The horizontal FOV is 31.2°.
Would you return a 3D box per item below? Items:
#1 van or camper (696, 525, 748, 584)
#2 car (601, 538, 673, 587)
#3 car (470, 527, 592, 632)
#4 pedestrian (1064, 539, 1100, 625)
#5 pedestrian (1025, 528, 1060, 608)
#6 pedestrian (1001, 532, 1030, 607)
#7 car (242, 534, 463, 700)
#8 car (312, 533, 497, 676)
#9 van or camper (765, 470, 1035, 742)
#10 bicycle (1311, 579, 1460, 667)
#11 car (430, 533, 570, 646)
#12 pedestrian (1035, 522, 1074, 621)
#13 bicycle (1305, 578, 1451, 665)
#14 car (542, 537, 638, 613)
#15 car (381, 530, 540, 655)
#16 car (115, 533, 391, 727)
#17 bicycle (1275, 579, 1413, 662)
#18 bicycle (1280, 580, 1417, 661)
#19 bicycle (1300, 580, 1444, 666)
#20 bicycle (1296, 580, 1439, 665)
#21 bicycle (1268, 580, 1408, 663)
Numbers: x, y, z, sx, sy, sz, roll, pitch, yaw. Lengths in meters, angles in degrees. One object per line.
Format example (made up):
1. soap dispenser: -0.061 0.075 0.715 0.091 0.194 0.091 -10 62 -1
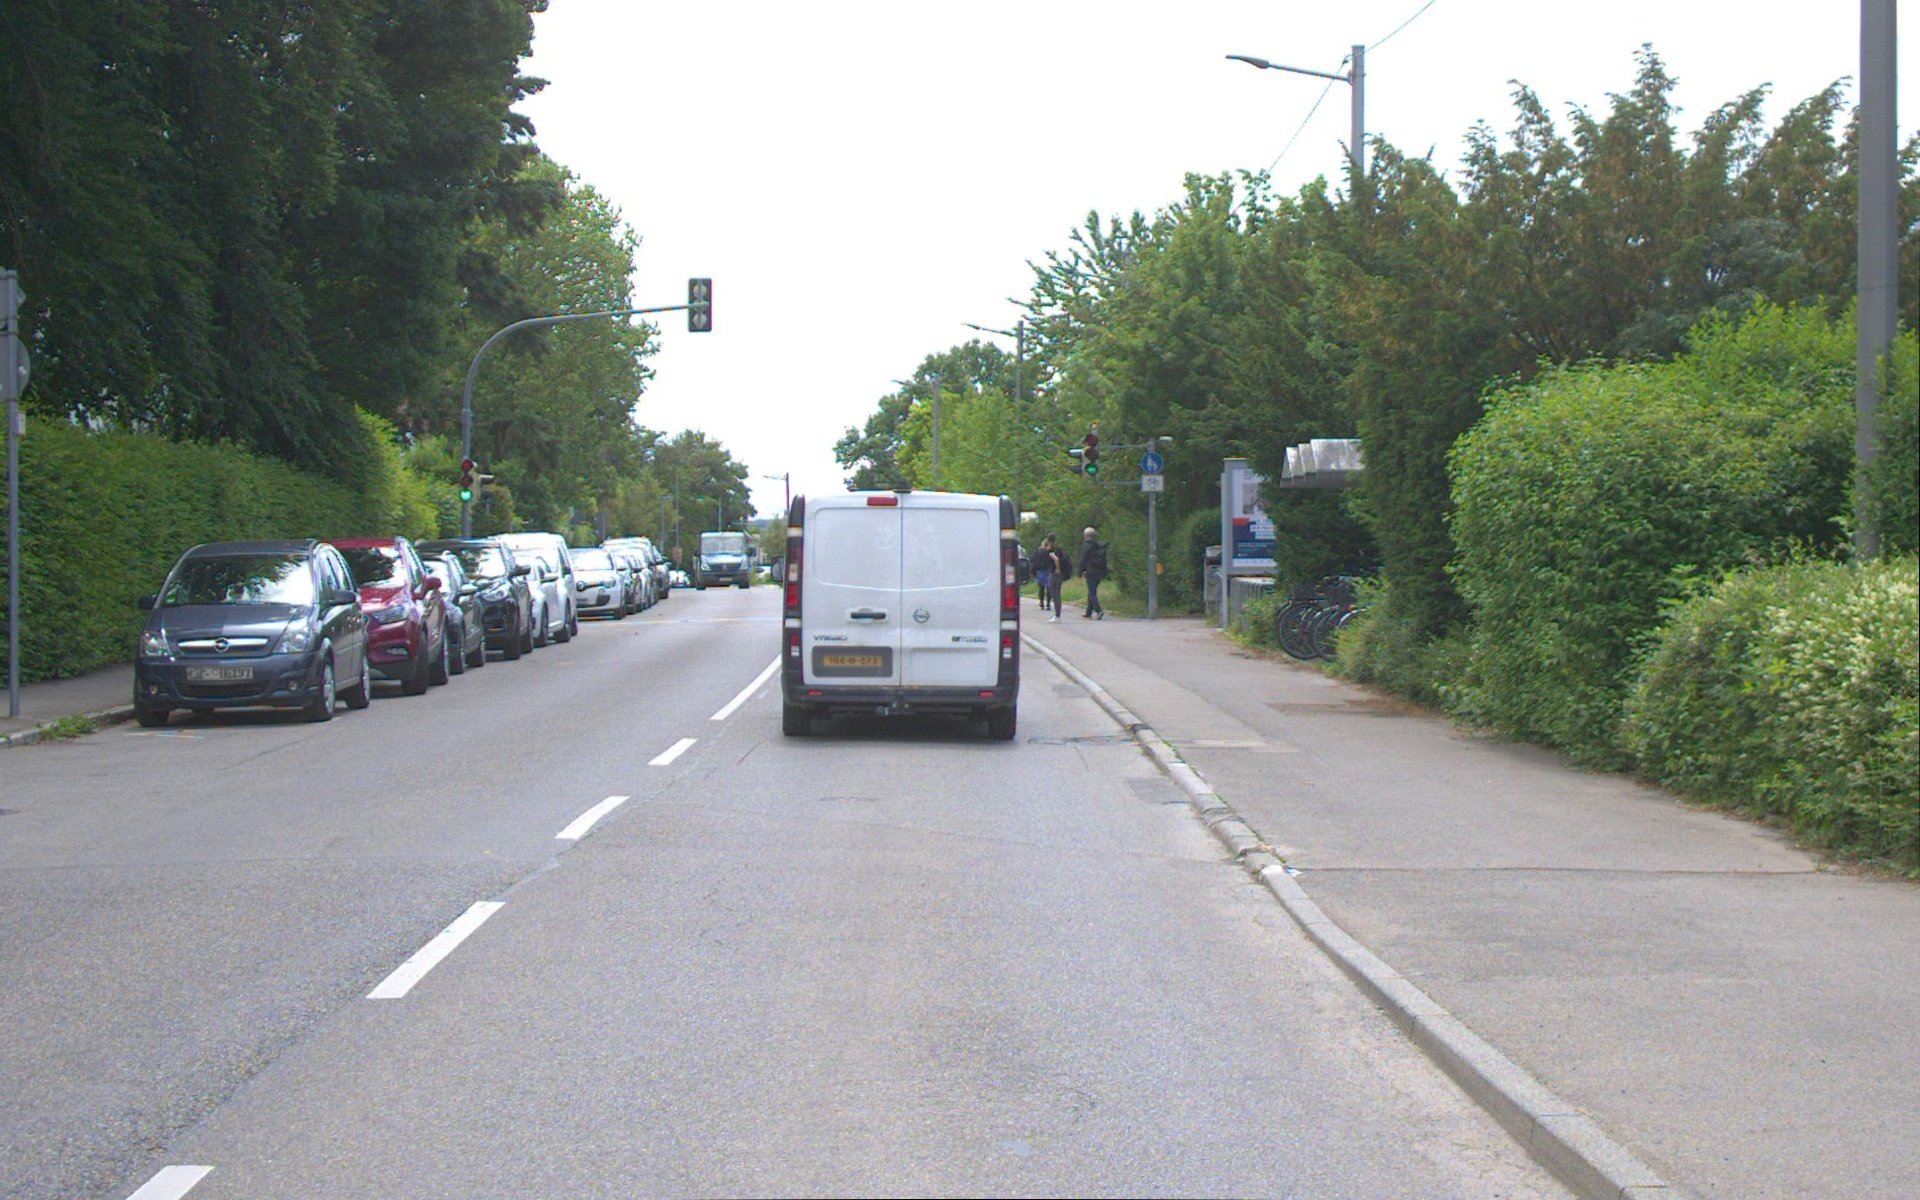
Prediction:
1. van or camper: -9.452 -1.822 136.958 2.004 2.254 4.613 -1 1 -3
2. car: -9.669 -1.140 103.164 1.780 1.419 4.000 1 1 0
3. car: -7.438 -0.375 59.911 1.761 1.750 3.815 -1 1 -2
4. pedestrian: 2.426 -0.359 68.266 0.674 1.690 0.522 1 1 4
5. pedestrian: 1.874 -0.724 77.888 0.649 1.800 0.566 0 1 -12
6. pedestrian: 1.375 -0.761 85.280 0.702 1.844 0.666 1 1 -1
7. car: -6.449 0.134 36.877 1.761 1.651 4.061 -1 1 -2
8. car: -6.777 0.020 42.235 1.761 1.651 3.815 -1 1 -2
9. van or camper: -0.477 0.029 28.340 1.993 2.007 4.446 2 0 0
10. bicycle: 5.090 0.270 41.196 1.698 1.027 0.491 1 1 -2
11. car: -7.043 -0.191 52.946 1.761 1.651 3.815 -1 1 -2
12. pedestrian: 1.784 -0.541 64.712 0.680 1.834 0.645 1 1 5
13. bicycle: 5.071 0.259 41.752 1.698 1.027 0.491 1 1 -2
14. car: -7.887 -0.559 73.475 1.761 1.551 3.815 -1 1 -2
15. car: -6.889 -0.137 47.696 1.761 1.651 3.815 -1 1 -2
16. car: -6.331 0.215 31.206 1.761 1.620 4.186 -1 1 -2
17. bicycle: 4.918 0.261 44.098 1.698 1.027 0.491 1 1 -2
18. bicycle: 5.037 0.261 44.651 1.698 1.027 0.491 1 1 -2
19. bicycle: 5.071 0.282 42.328 1.698 1.027 0.491 1 1 -2
20. bicycle: 5.081 0.280 42.892 1.698 1.027 0.491 1 1 -2
21. bicycle: 4.789 0.267 43.578 1.698 1.027 0.491 1 1 -2
